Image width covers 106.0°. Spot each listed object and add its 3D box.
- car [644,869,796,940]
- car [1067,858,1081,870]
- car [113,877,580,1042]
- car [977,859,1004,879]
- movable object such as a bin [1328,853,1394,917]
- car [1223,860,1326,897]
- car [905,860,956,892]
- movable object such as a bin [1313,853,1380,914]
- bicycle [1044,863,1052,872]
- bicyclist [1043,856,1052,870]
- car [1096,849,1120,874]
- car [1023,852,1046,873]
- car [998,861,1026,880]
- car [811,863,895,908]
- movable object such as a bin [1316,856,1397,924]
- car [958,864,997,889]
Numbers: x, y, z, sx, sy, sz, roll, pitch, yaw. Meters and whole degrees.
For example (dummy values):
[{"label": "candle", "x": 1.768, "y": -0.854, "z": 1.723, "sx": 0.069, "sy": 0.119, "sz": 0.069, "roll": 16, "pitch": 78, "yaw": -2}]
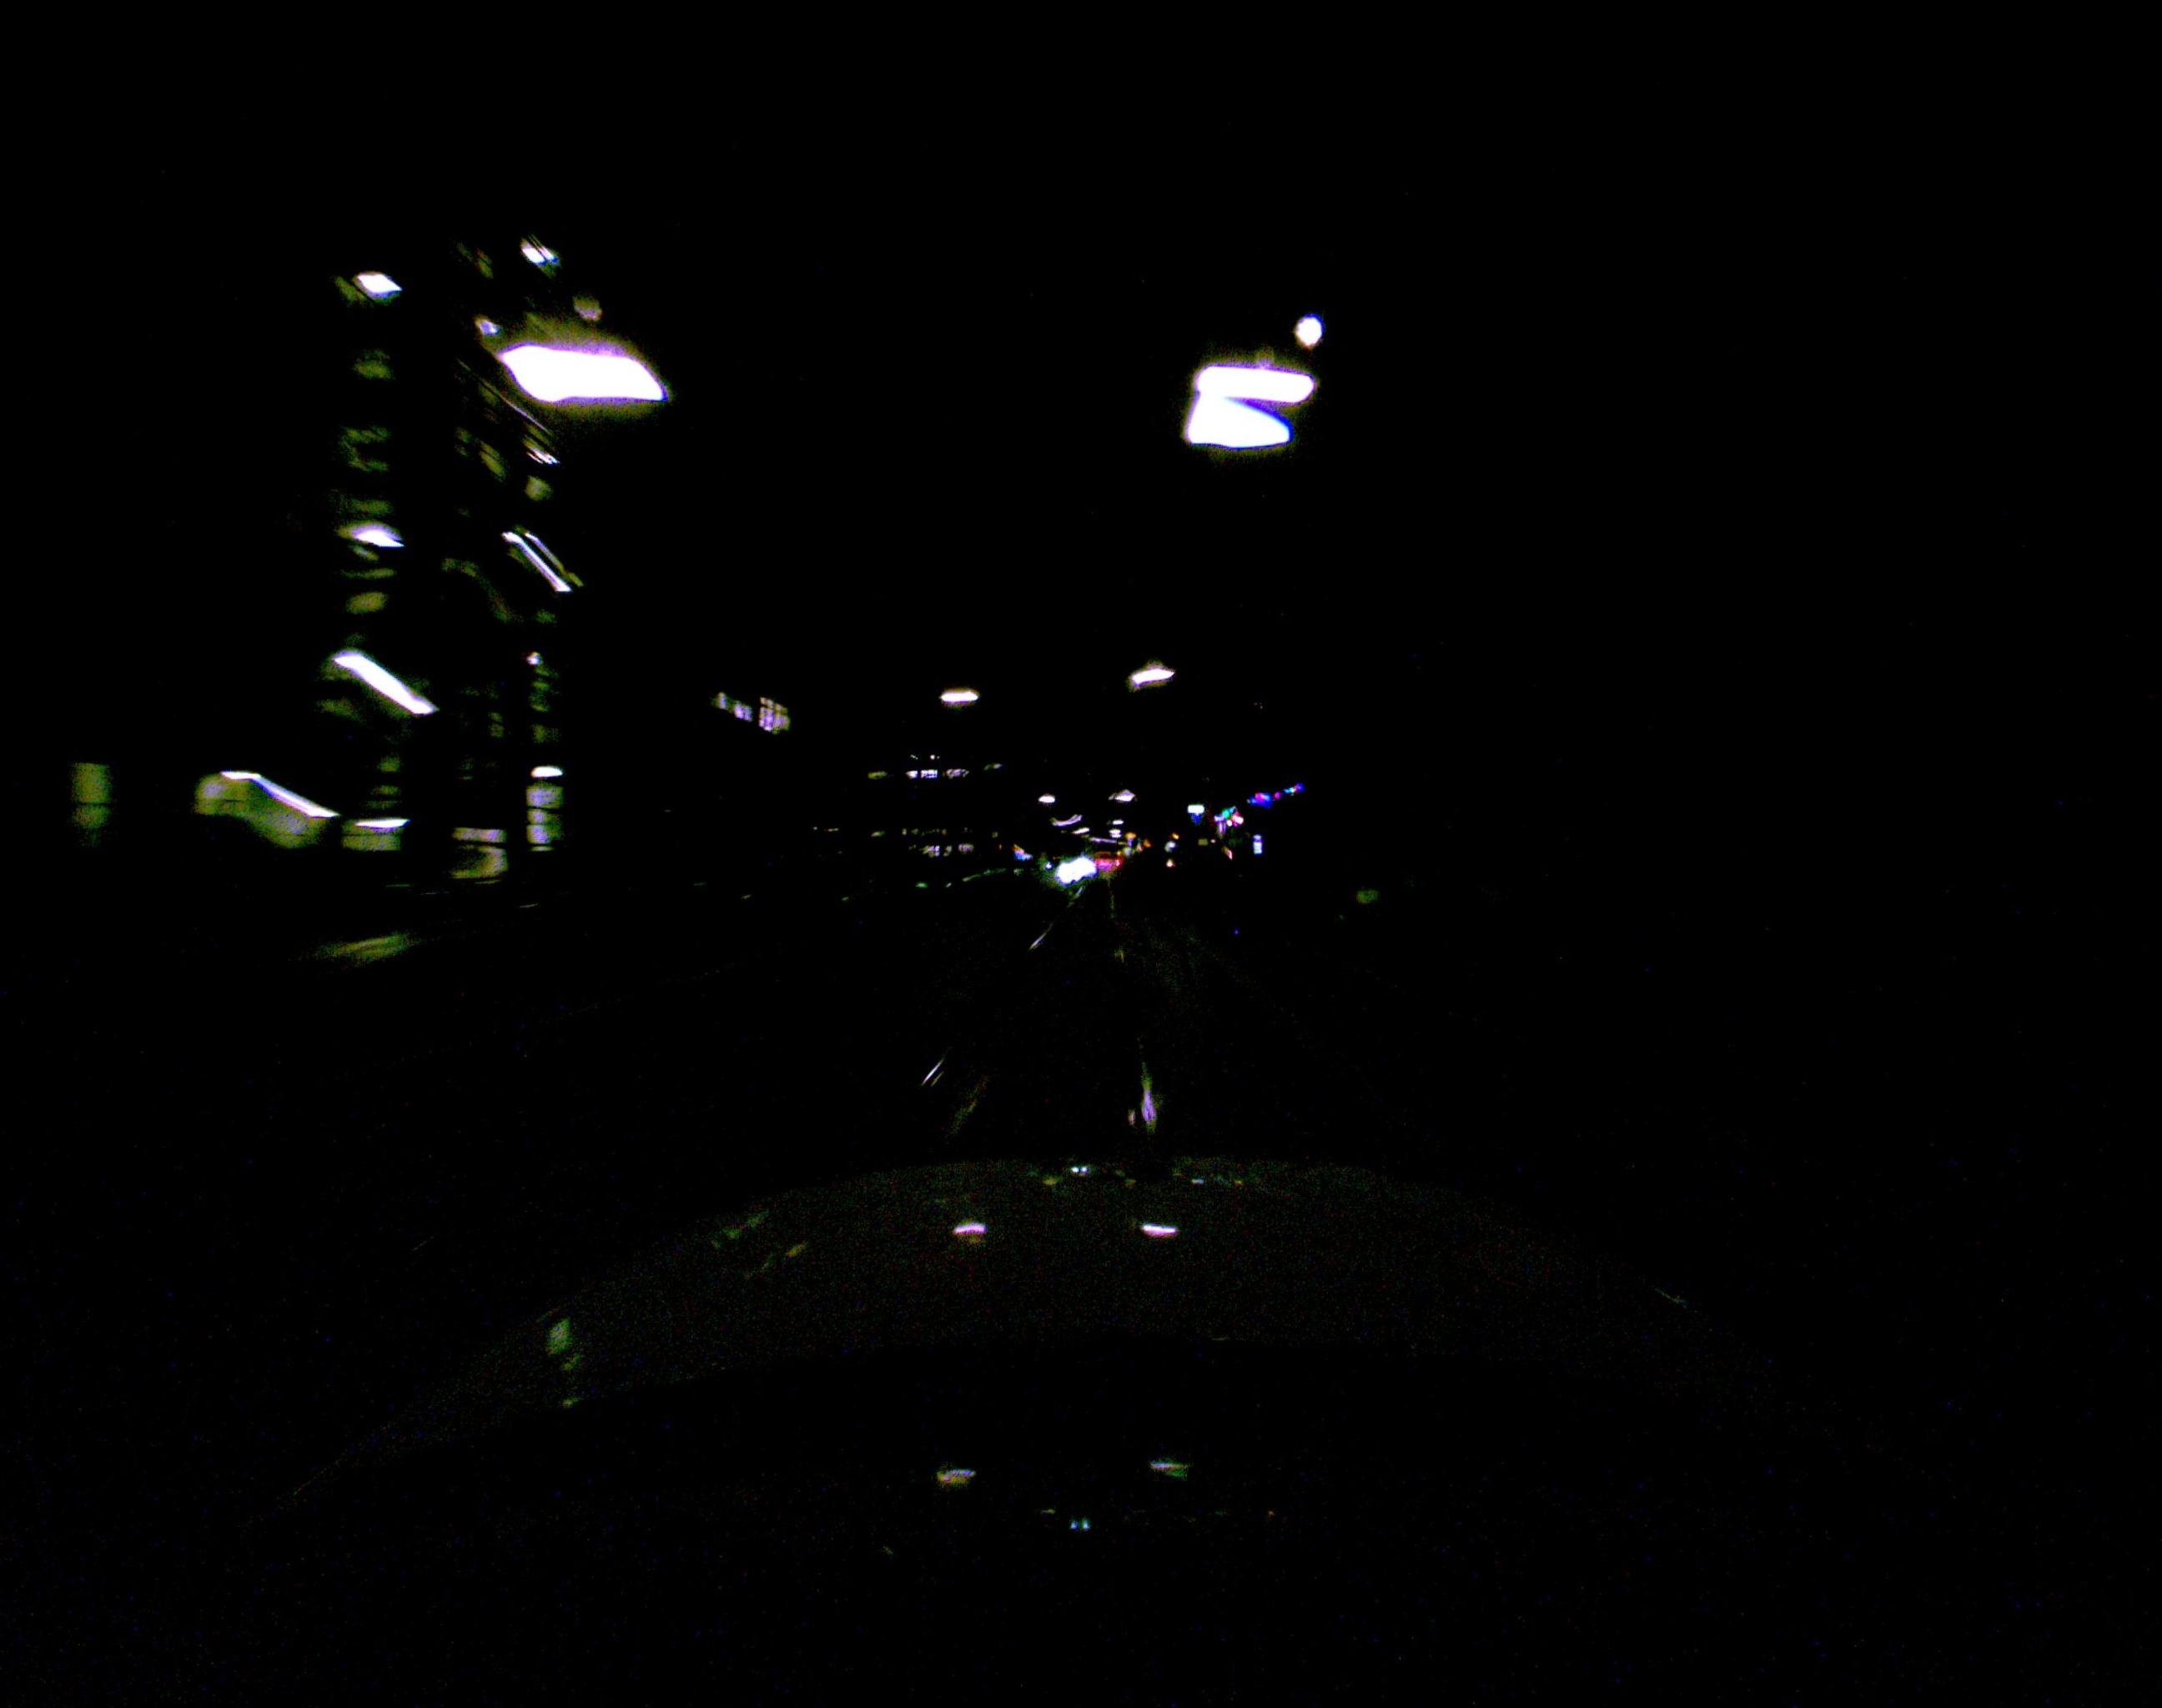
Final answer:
[{"label": "car", "x": -8.525, "y": 1.130, "z": 19.678, "sx": 1.835, "sy": 1.423, "sz": 4.206, "roll": -2, "pitch": 0, "yaw": -1}, {"label": "car", "x": -0.995, "y": 1.372, "z": 113.640, "sx": 1.769, "sy": 1.517, "sz": 4.053, "roll": -1, "pitch": 0, "yaw": 2}, {"label": "car", "x": -8.582, "y": 1.092, "z": 10.261, "sx": 1.768, "sy": 1.440, "sz": 4.604, "roll": -2, "pitch": 0, "yaw": -2}, {"label": "car", "x": -7.059, "y": 1.168, "z": 63.726, "sx": 1.686, "sy": 1.421, "sz": 3.912, "roll": -2, "pitch": 0, "yaw": -1}, {"label": "movable object such as a bin", "x": 6.607, "y": 0.719, "z": 19.282, "sx": 1.202, "sy": 1.422, "sz": 1.103, "roll": -3, "pitch": -1, "yaw": 7}, {"label": "car", "x": 8.626, "y": 1.061, "z": 36.293, "sx": 4.111, "sy": 1.537, "sz": 1.945, "roll": -1, "pitch": -1, "yaw": -24}, {"label": "car", "x": -7.776, "y": 1.121, "z": 42.517, "sx": 1.875, "sy": 1.545, "sz": 4.397, "roll": 2, "pitch": -1, "yaw": -1}, {"label": "movable object such as a bin", "x": 6.635, "y": 0.737, "z": 20.418, "sx": 1.361, "sy": 1.422, "sz": 1.075, "roll": -3, "pitch": -1, "yaw": 7}, {"label": "bicycle", "x": -3.944, "y": 1.582, "z": 96.743, "sx": 0.779, "sy": 1.082, "sz": 1.919, "roll": -3, "pitch": -1, "yaw": 2}, {"label": "bicyclist", "x": -3.974, "y": 1.046, "z": 96.766, "sx": 0.779, "sy": 1.655, "sz": 1.206, "roll": -3, "pitch": -1, "yaw": 2}, {"label": "car", "x": 2.673, "y": 0.760, "z": 81.059, "sx": 2.236, "sy": 2.361, "sz": 4.393, "roll": -1, "pitch": -1, "yaw": 0}, {"label": "car", "x": -6.042, "y": 1.042, "z": 105.968, "sx": 2.175, "sy": 2.591, "sz": 6.398, "roll": -1, "pitch": 0, "yaw": 4}, {"label": "car", "x": -6.287, "y": 1.452, "z": 74.608, "sx": 1.961, "sy": 1.655, "sz": 4.604, "roll": 1, "pitch": 0, "yaw": 3}, {"label": "car", "x": -8.359, "y": 1.099, "z": 30.359, "sx": 1.883, "sy": 1.463, "sz": 4.955, "roll": -2, "pitch": 0, "yaw": -3}, {"label": "movable object such as a bin", "x": 6.109, "y": 0.784, "z": 18.127, "sx": 1.319, "sy": 1.408, "sz": 1.158, "roll": -3, "pitch": -1, "yaw": -4}, {"label": "car", "x": -7.087, "y": 1.502, "z": 56.427, "sx": 1.976, "sy": 1.631, "sz": 4.518, "roll": -1, "pitch": -1, "yaw": 1}]
